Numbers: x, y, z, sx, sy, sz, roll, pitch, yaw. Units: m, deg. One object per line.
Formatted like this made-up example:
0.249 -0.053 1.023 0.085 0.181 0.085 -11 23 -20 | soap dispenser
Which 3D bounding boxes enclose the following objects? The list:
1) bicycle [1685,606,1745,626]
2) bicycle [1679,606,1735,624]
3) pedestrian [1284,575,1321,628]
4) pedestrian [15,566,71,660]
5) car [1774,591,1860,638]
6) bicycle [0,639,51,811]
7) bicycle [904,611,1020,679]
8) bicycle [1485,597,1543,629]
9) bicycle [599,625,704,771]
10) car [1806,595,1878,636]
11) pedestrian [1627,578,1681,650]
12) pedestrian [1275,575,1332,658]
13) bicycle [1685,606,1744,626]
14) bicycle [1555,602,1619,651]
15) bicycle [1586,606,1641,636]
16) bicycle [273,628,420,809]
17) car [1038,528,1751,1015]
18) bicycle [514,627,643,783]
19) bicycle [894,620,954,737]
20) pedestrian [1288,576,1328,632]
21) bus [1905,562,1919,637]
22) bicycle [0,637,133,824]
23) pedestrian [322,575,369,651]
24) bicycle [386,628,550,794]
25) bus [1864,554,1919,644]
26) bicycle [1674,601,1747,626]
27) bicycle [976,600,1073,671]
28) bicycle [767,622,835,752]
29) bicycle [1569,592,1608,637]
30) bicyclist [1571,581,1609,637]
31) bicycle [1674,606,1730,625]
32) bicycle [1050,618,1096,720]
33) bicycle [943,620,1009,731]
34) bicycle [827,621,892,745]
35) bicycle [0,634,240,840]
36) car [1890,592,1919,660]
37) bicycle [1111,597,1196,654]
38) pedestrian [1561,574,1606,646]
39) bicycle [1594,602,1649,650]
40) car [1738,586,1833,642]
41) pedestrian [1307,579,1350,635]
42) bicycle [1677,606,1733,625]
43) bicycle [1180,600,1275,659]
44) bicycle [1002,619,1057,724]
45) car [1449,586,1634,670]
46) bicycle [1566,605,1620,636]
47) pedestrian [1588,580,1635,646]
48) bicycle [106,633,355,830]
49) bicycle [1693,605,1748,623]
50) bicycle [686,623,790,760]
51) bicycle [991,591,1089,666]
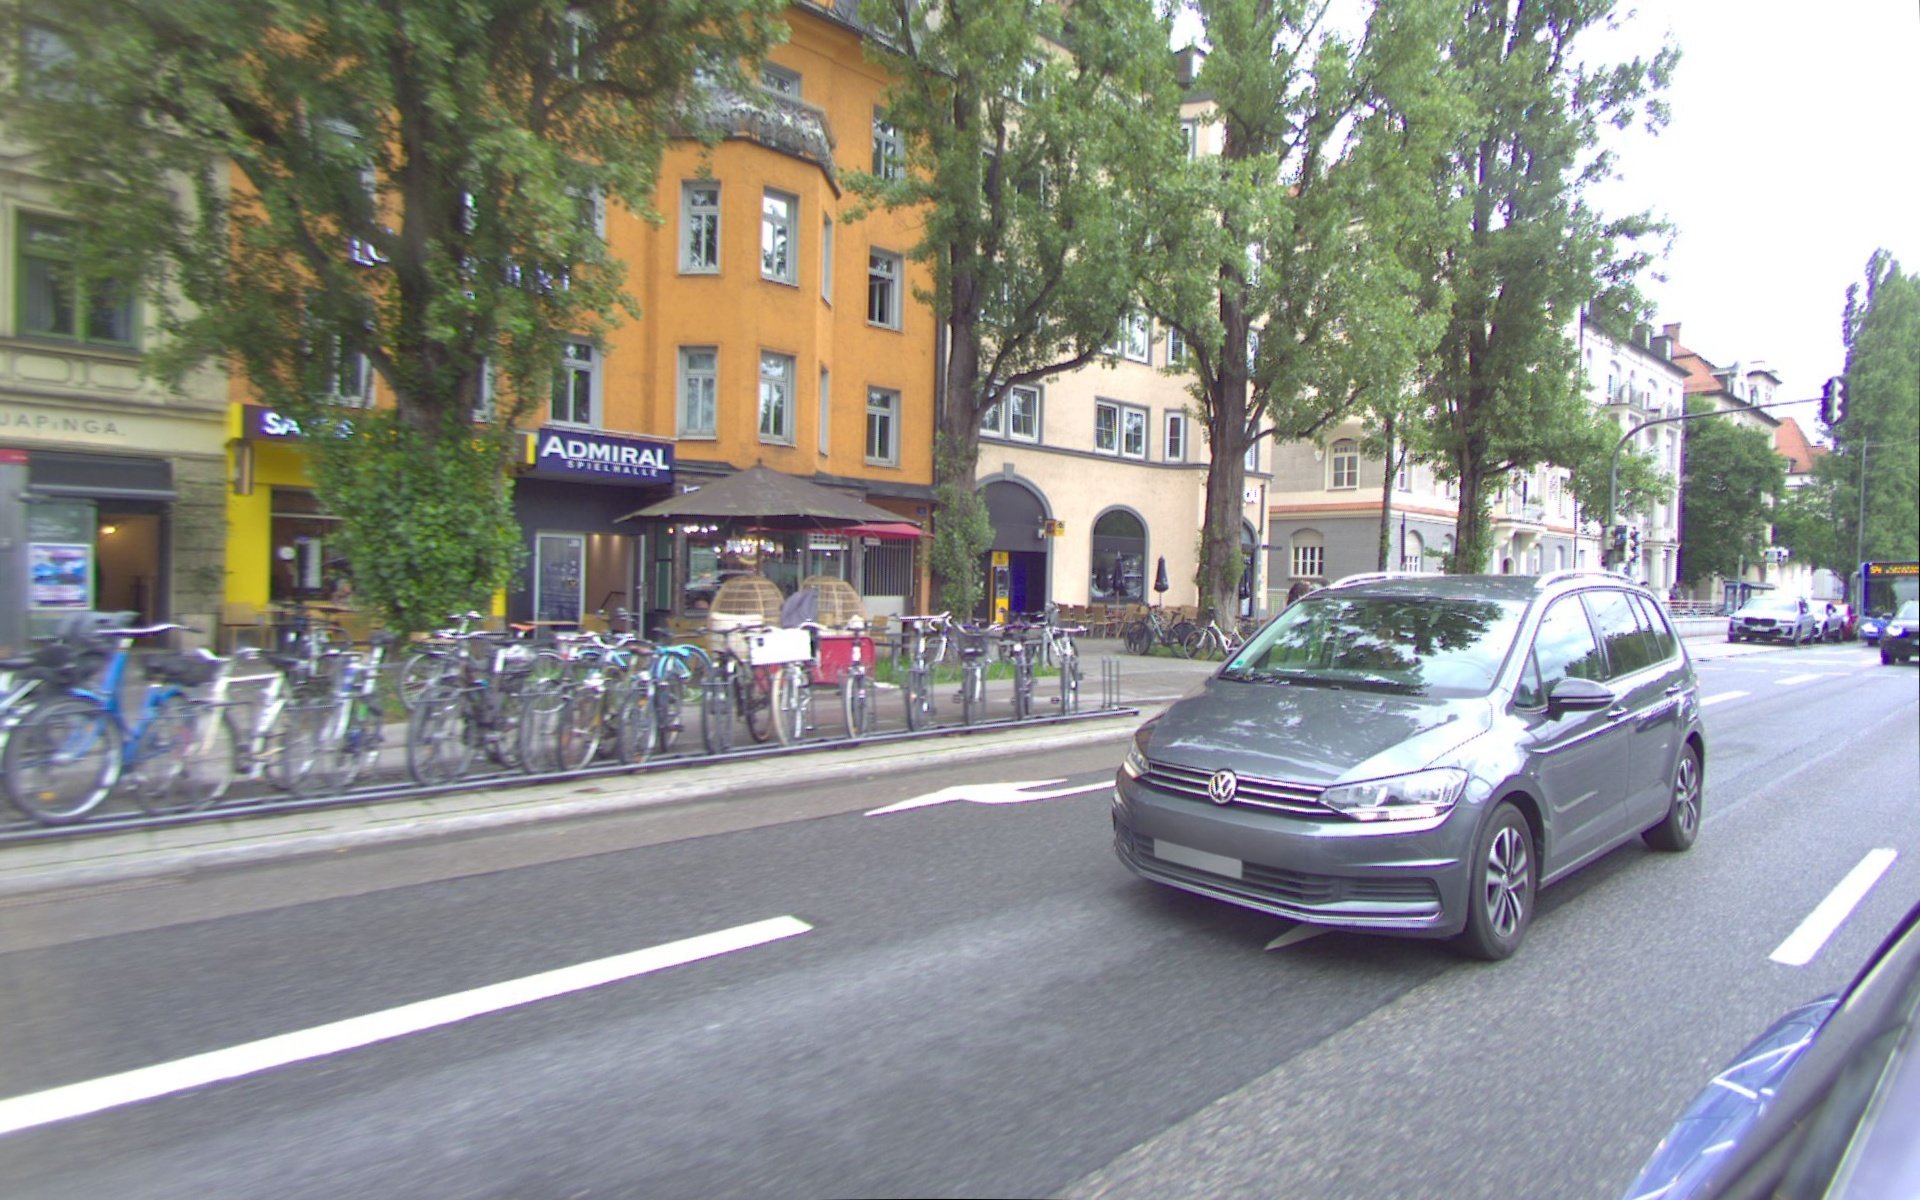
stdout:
36.958 0.779 49.544 2.307 0.933 0.580 1 0 33 | bicycle
39.281 0.783 53.236 0.629 0.933 2.319 0 1 -43 | bicycle
11.597 0.041 34.288 0.999 1.735 0.747 0 1 -40 | pedestrian
-12.994 0.174 14.352 0.573 1.296 0.584 0 1 -41 | pedestrian
32.001 0.514 37.772 3.895 1.596 1.730 0 2 -39 | car
-5.953 0.748 5.419 0.319 1.008 1.838 2 0 7 | bicycle
0.054 0.633 14.814 1.861 0.903 0.457 0 1 -42 | bicycle
20.826 0.489 38.050 1.855 1.169 0.464 1 1 8 | bicycle
-2.494 0.741 8.329 0.368 1.008 1.843 2 0 -3 | bicycle
35.778 0.590 41.047 3.678 1.527 1.729 0 2 -42 | car
17.900 0.357 26.112 0.741 1.824 0.883 1 0 -30 | pedestrian
6.756 0.320 19.899 0.749 1.582 0.762 1 0 -39 | pedestrian
37.443 0.780 50.281 2.307 0.933 0.580 1 0 33 | bicycle
15.881 0.654 25.668 0.352 1.116 1.747 1 1 -6 | bicycle
22.501 0.715 34.854 1.801 1.036 0.447 0 1 -14 | bicycle
-4.143 0.736 6.949 0.367 1.008 1.846 2 0 -16 | bicycle
2.705 0.577 5.643 4.624 1.667 1.775 0 0 -40 | car
-2.896 0.741 7.835 0.368 1.008 1.843 2 0 -3 | bicycle
-0.336 0.728 10.075 0.368 1.008 1.840 2 0 4 | bicycle
11.011 0.117 32.032 0.999 1.706 0.747 0 1 -40 | pedestrian
42.477 -0.013 42.864 8.383 3.012 2.635 0 -1 -41 | bus
-5.544 0.748 5.618 0.319 1.008 1.841 2 0 2 | bicycle
-10.238 0.207 16.853 0.573 1.233 0.623 0 1 -41 | pedestrian
-3.542 0.739 7.436 0.368 1.008 1.843 2 0 -3 | bicycle
35.719 -0.013 37.091 9.299 3.012 2.635 0 -1 -41 | bus
37.700 0.666 50.917 2.899 1.162 0.633 1 0 33 | bicycle
1.039 0.556 16.786 0.450 1.067 1.892 0 1 -38 | bicycle
-1.413 0.728 9.172 0.368 1.008 1.843 2 0 -2 | bicycle
18.776 0.409 30.235 1.747 1.304 0.424 0 1 -40 | bicycle
18.847 0.259 30.268 0.923 1.623 0.681 0 1 -40 | bicyclist
38.295 0.782 52.238 2.312 0.933 0.579 1 0 38 | bicycle
1.285 0.728 11.351 0.369 1.008 1.836 2 0 10 | bicycle
0.196 0.728 10.502 0.369 1.008 1.836 2 0 10 | bicycle
-0.922 0.726 9.566 0.368 1.008 1.841 2 0 1 | bicycle
-5.120 0.748 6.205 0.318 1.008 1.845 2 0 -8 | bicycle
23.151 0.574 23.551 3.901 1.523 1.778 0 -1 -41 | car
4.128 0.519 21.749 0.450 1.127 1.890 0 2 -42 | bicycle
15.894 0.243 25.817 0.638 1.803 0.702 1 0 -7 | pedestrian
16.791 0.629 25.719 0.353 1.116 1.743 1 1 5 | bicycle
28.286 0.435 34.639 4.424 1.680 1.737 0 4 -42 | car
11.067 0.202 30.429 0.805 1.622 0.851 1 1 -23 | pedestrian
38.798 0.782 52.730 0.629 0.933 2.319 0 1 -43 | bicycle
5.353 0.573 20.335 0.450 1.067 1.890 0 2 -42 | bicycle
0.778 0.728 10.976 0.369 1.008 1.836 2 0 10 | bicycle
11.859 0.485 20.525 4.452 1.458 1.996 0 2 -43 | car
22.097 0.716 35.340 1.801 1.036 0.447 0 1 -14 | bicycle
16.646 0.330 25.872 0.743 1.658 0.700 1 0 7 | pedestrian
-4.551 0.751 6.470 0.319 1.008 1.843 2 0 -3 | bicycle
41.699 0.783 55.497 0.629 0.933 2.319 0 1 -43 | bicycle
-1.879 0.728 8.776 0.368 1.008 1.840 2 0 4 | bicycle
1.367 0.468 17.728 0.571 1.188 1.892 0 1 -38 | bicycle
